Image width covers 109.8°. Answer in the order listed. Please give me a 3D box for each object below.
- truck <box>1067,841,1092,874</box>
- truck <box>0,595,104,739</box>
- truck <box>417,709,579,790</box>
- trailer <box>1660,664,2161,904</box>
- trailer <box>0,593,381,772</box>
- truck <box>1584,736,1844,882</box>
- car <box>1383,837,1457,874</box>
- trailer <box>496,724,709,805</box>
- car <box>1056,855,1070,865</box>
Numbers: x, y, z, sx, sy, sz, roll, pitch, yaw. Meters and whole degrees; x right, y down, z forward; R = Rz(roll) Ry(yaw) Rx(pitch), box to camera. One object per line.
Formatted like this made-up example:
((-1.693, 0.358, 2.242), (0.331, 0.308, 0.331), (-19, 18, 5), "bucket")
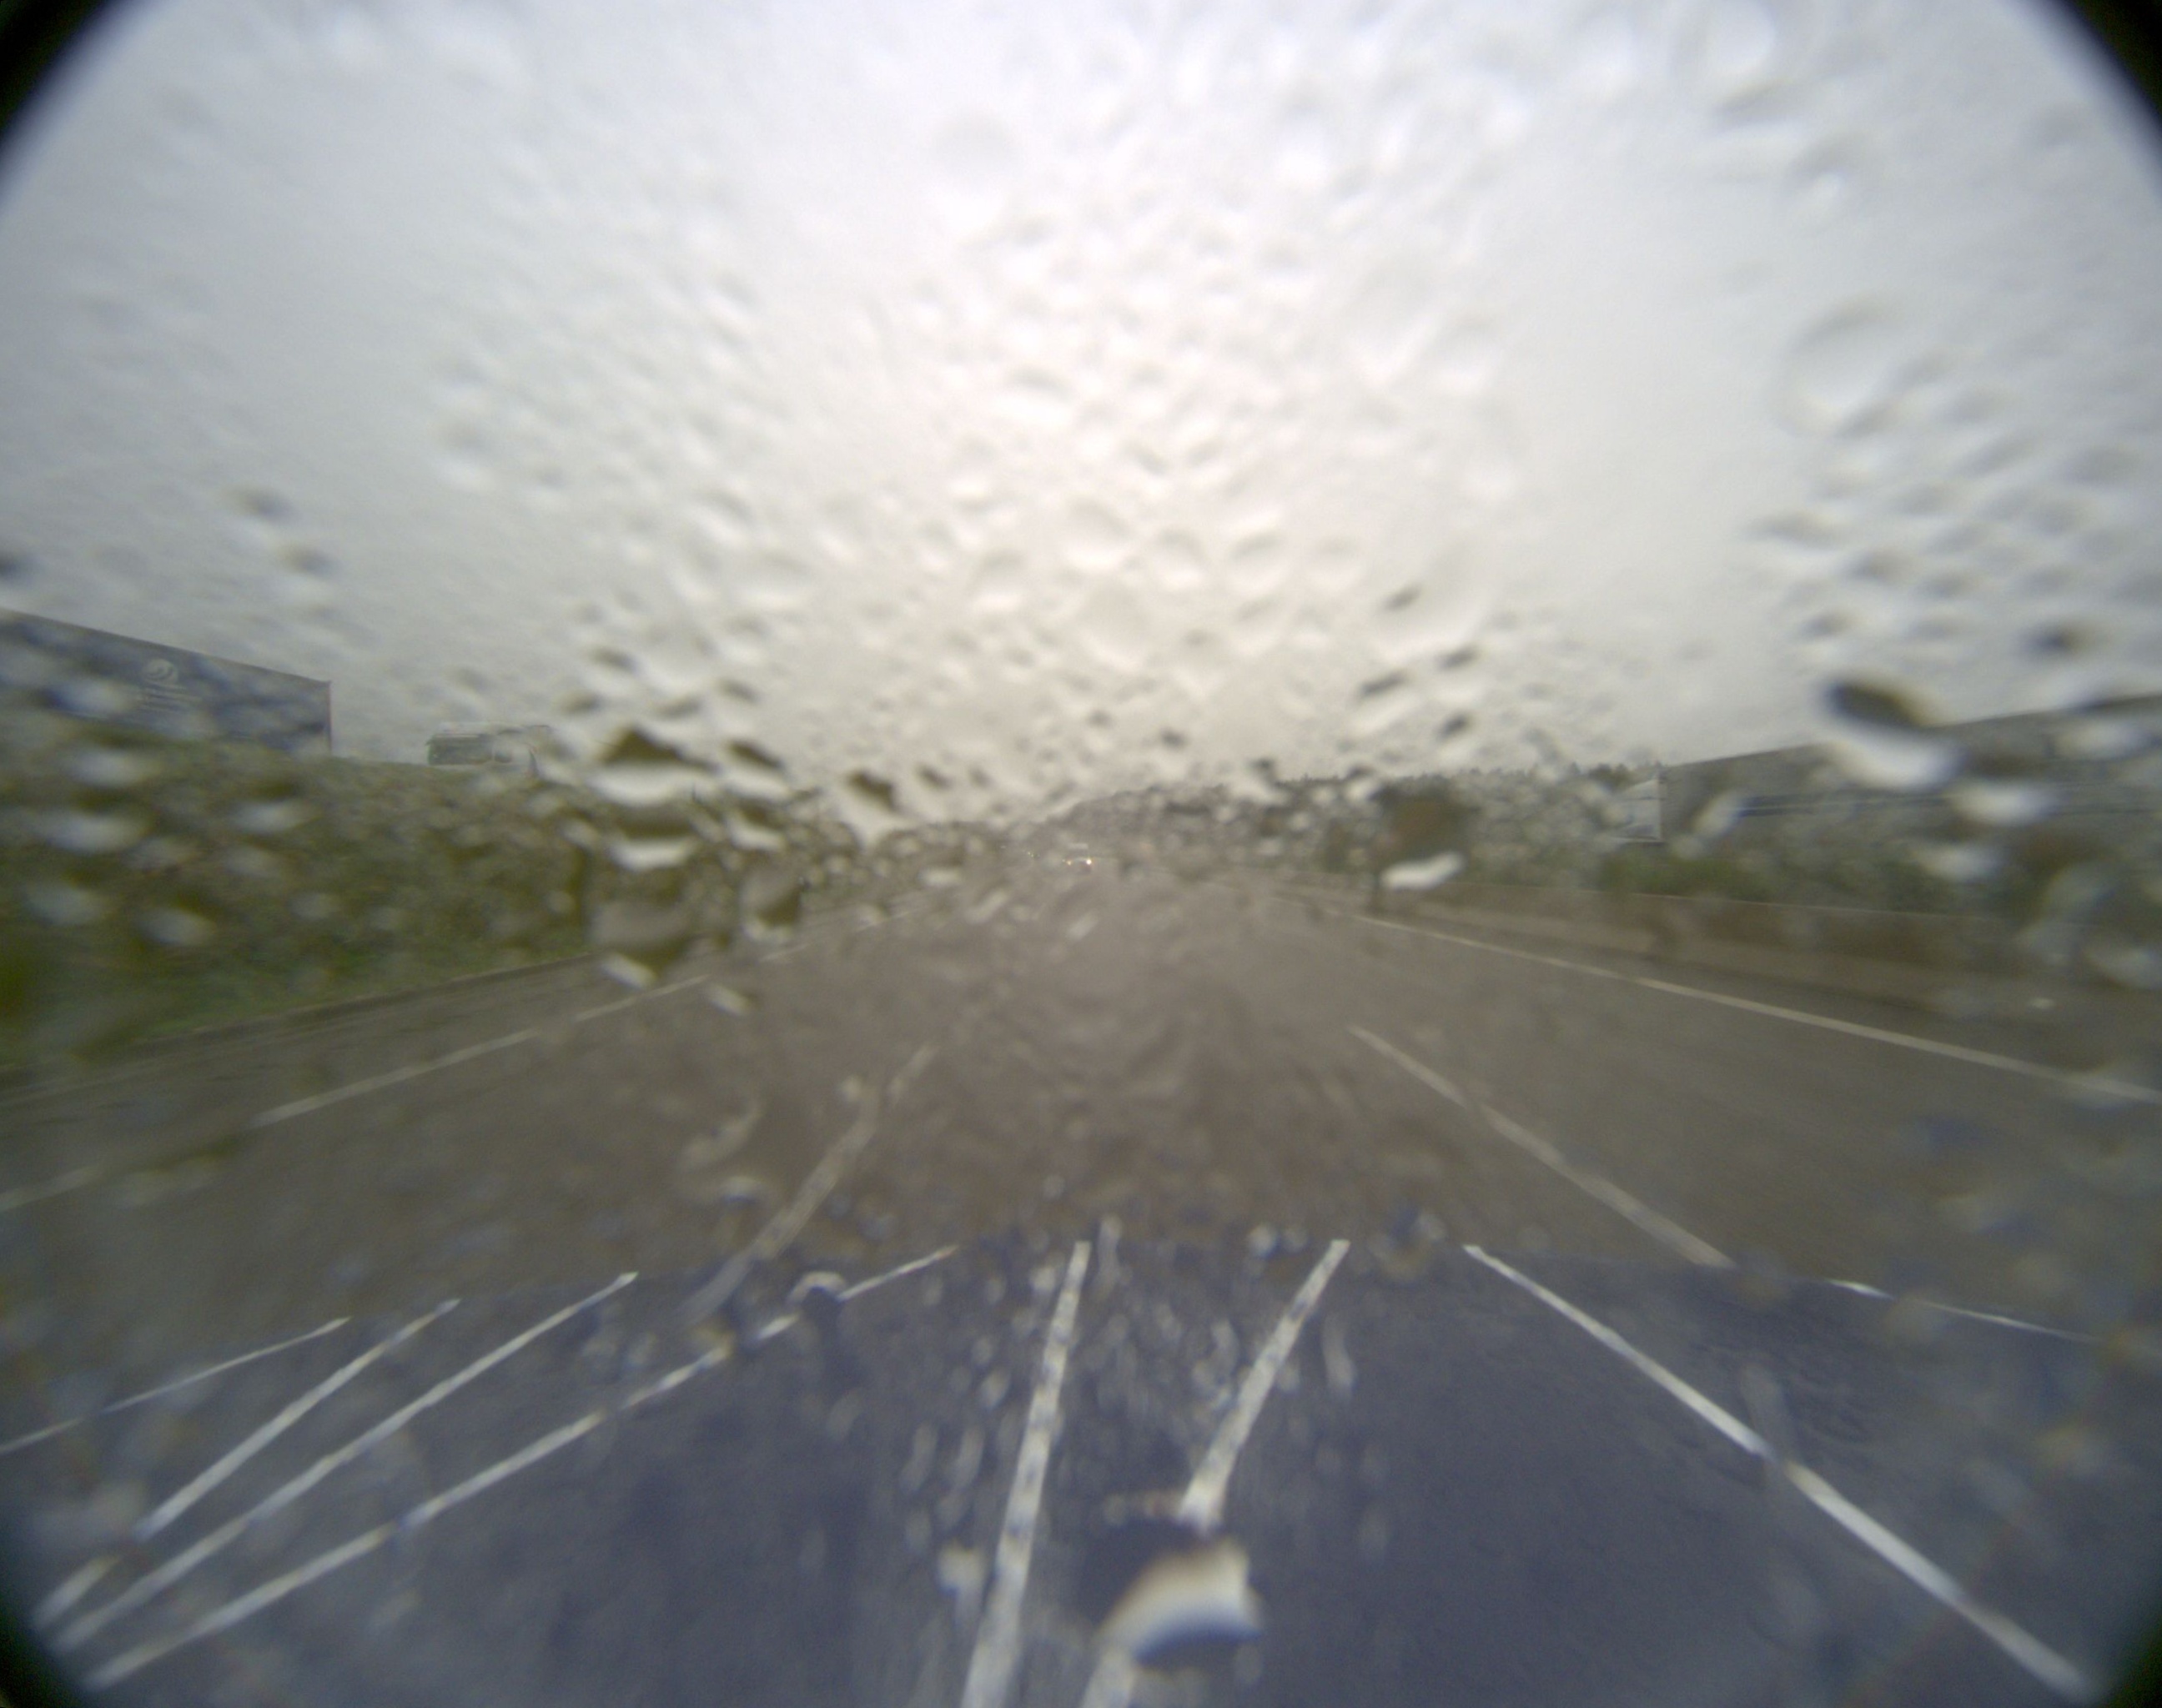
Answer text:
((-0.106, 0.232, 66.598), (1.998, 2.699, 7.998), (-2, 1, 0), "truck")
((-22.942, -3.862, 14.313), (2.371, 2.589, 5.062), (-2, 1, 1), "truck")
((-23.214, -4.071, 30.584), (2.430, 2.552, 5.079), (-2, 1, 1), "truck")
((19.793, -1.227, 16.868), (3.394, 3.995, 13.888), (-2, 0, 1), "trailer")
((-22.894, -3.898, 18.751), (2.302, 2.740, 9.404), (-2, 1, 1), "trailer")
((19.894, -1.293, 24.470), (3.334, 4.003, 5.973), (-2, 1, 0), "truck")
((16.601, 0.052, 37.444), (1.838, 1.674, 3.999), (-2, 1, 1), "car")
((-23.157, -4.149, 38.234), (2.387, 2.588, 12.962), (-2, 1, 0), "trailer")
((-2.774, 0.875, 115.603), (1.999, 1.521, 3.999), (-1, 0, -2), "car")
